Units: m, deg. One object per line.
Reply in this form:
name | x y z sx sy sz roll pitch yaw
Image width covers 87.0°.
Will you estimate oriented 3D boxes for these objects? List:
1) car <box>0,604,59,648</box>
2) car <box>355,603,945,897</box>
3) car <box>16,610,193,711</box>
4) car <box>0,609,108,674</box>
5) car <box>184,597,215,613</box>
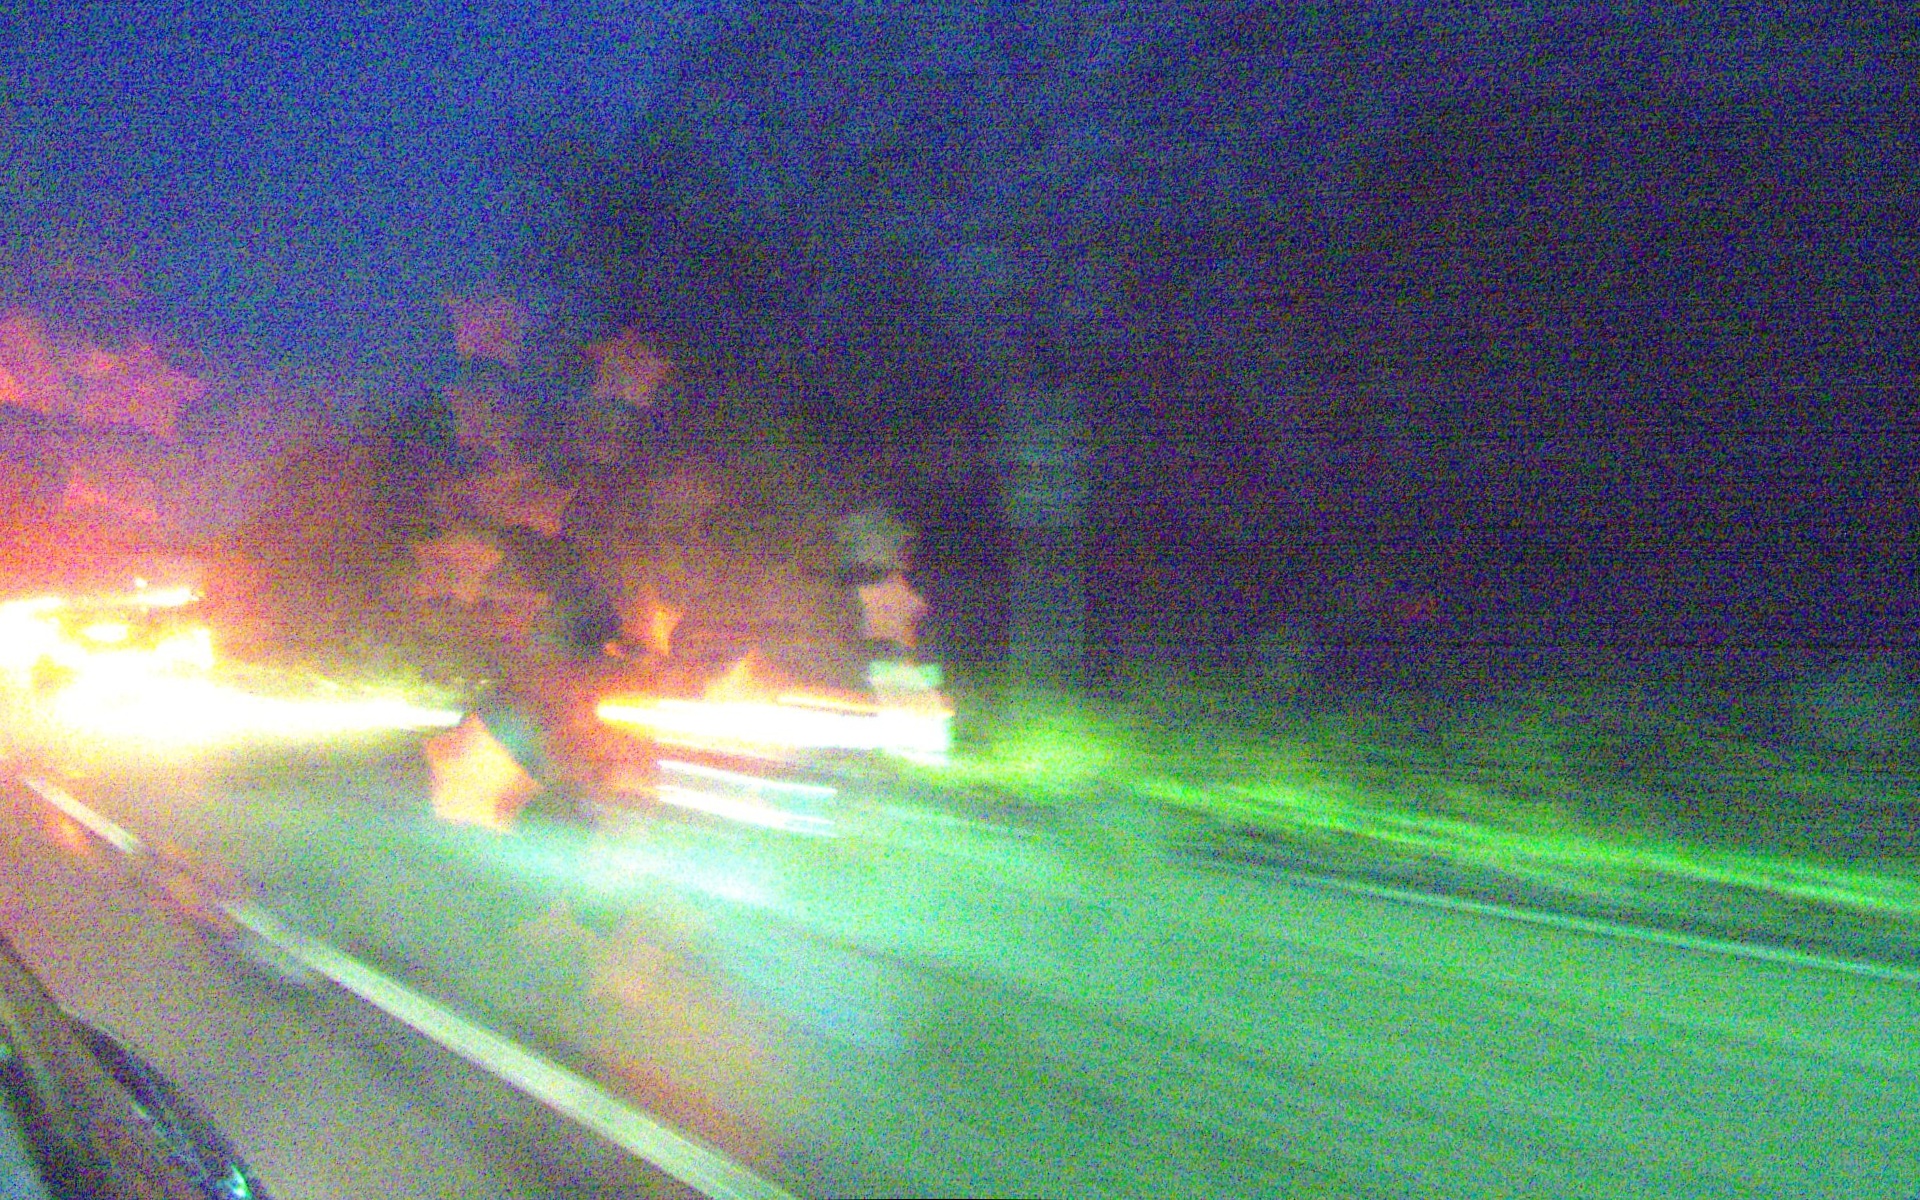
car | -33.896 0.899 36.591 1.749 1.495 4.389 0 0 -39
car | -2.286 0.726 6.874 4.227 1.399 1.754 0 0 38
car | -14.150 0.891 16.658 4.233 1.399 1.752 0 0 43
car | -22.099 0.933 24.510 4.112 1.399 1.752 0 0 43
car | -86.408 0.593 115.054 1.965 1.721 5.000 2 -1 -28
